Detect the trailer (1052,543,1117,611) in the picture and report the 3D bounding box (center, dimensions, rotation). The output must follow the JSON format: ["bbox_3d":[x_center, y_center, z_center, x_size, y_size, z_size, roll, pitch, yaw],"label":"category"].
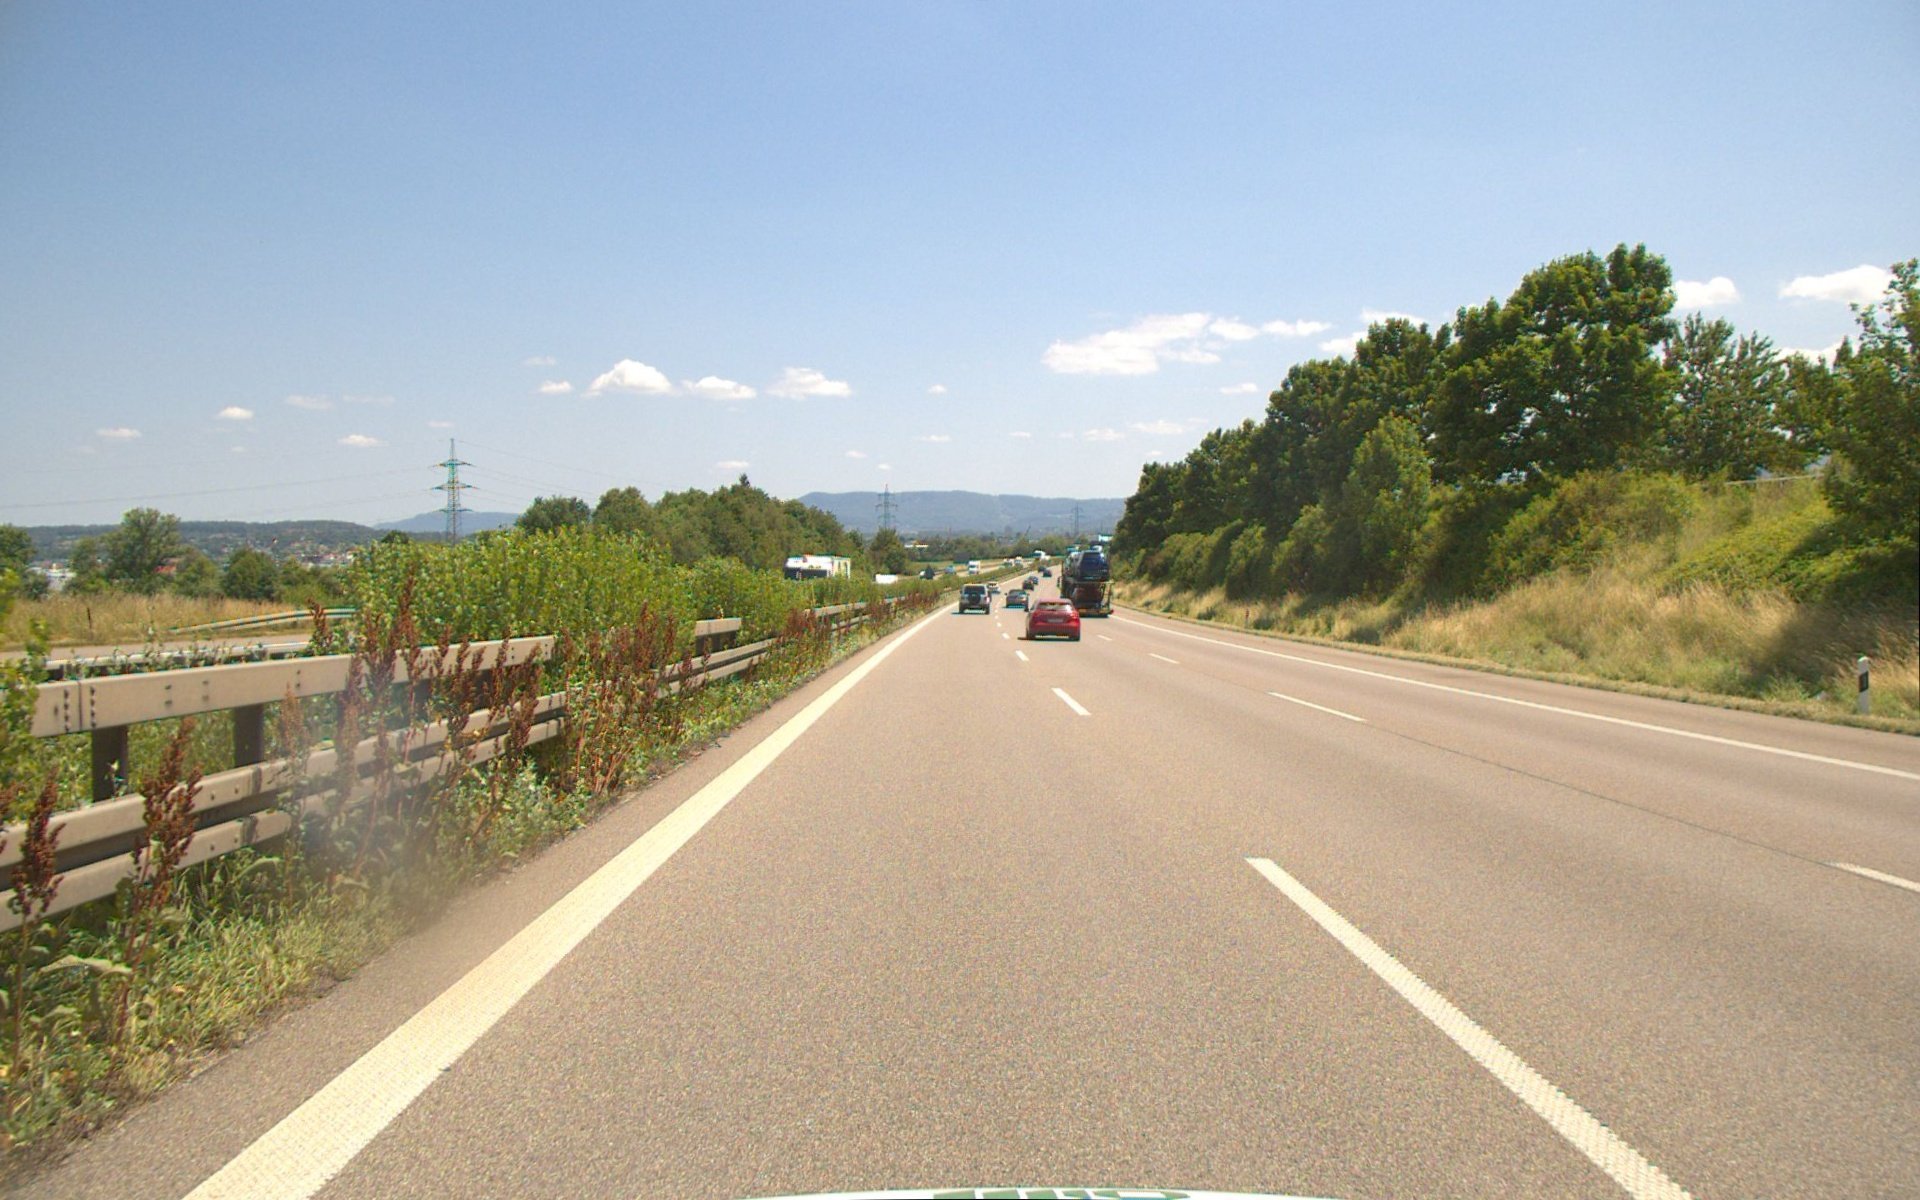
[{"bbox_3d":[7.899,-1.516,106.971,2.797,4.063,15.395,1,1,-1],"label":"trailer"}]

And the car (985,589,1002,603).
[{"bbox_3d":[3.126,-0.380,154.140,1.425,1.289,3.339,1,1,4],"label":"car"}]

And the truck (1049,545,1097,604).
[{"bbox_3d":[7.790,-1.773,114.725,2.698,3.920,6.643,1,1,-1],"label":"truck"}]

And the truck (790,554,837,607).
[{"bbox_3d":[-11.889,-1.568,134.668,3.110,4.180,5.228,1,1,2],"label":"truck"}]

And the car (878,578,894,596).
[{"bbox_3d":[-8.695,-1.586,195.563,1.758,2.048,4.000,1,1,-1],"label":"car"}]

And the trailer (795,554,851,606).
[{"bbox_3d":[-11.596,-1.757,141.232,3.126,4.147,14.047,1,1,2],"label":"trailer"}]

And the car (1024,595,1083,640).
[{"bbox_3d":[3.195,0.587,57.293,1.652,1.403,3.947,1,1,-2],"label":"car"}]

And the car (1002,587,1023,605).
[{"bbox_3d":[4.088,-0.319,128.393,1.423,1.289,3.538,1,1,-1],"label":"car"}]

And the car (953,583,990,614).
[{"bbox_3d":[0.695,-0.129,104.343,2.042,1.861,4.751,1,1,-3],"label":"car"}]

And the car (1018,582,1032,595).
[{"bbox_3d":[8.938,-1.536,227.623,1.601,1.734,3.404,1,1,6],"label":"car"}]

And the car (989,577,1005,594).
[{"bbox_3d":[4.491,-1.767,201.478,1.662,2.048,3.825,1,1,6],"label":"car"}]

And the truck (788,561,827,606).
[{"bbox_3d":[-14.329,-1.593,155.992,2.948,4.180,5.623,1,1,2],"label":"truck"}]
